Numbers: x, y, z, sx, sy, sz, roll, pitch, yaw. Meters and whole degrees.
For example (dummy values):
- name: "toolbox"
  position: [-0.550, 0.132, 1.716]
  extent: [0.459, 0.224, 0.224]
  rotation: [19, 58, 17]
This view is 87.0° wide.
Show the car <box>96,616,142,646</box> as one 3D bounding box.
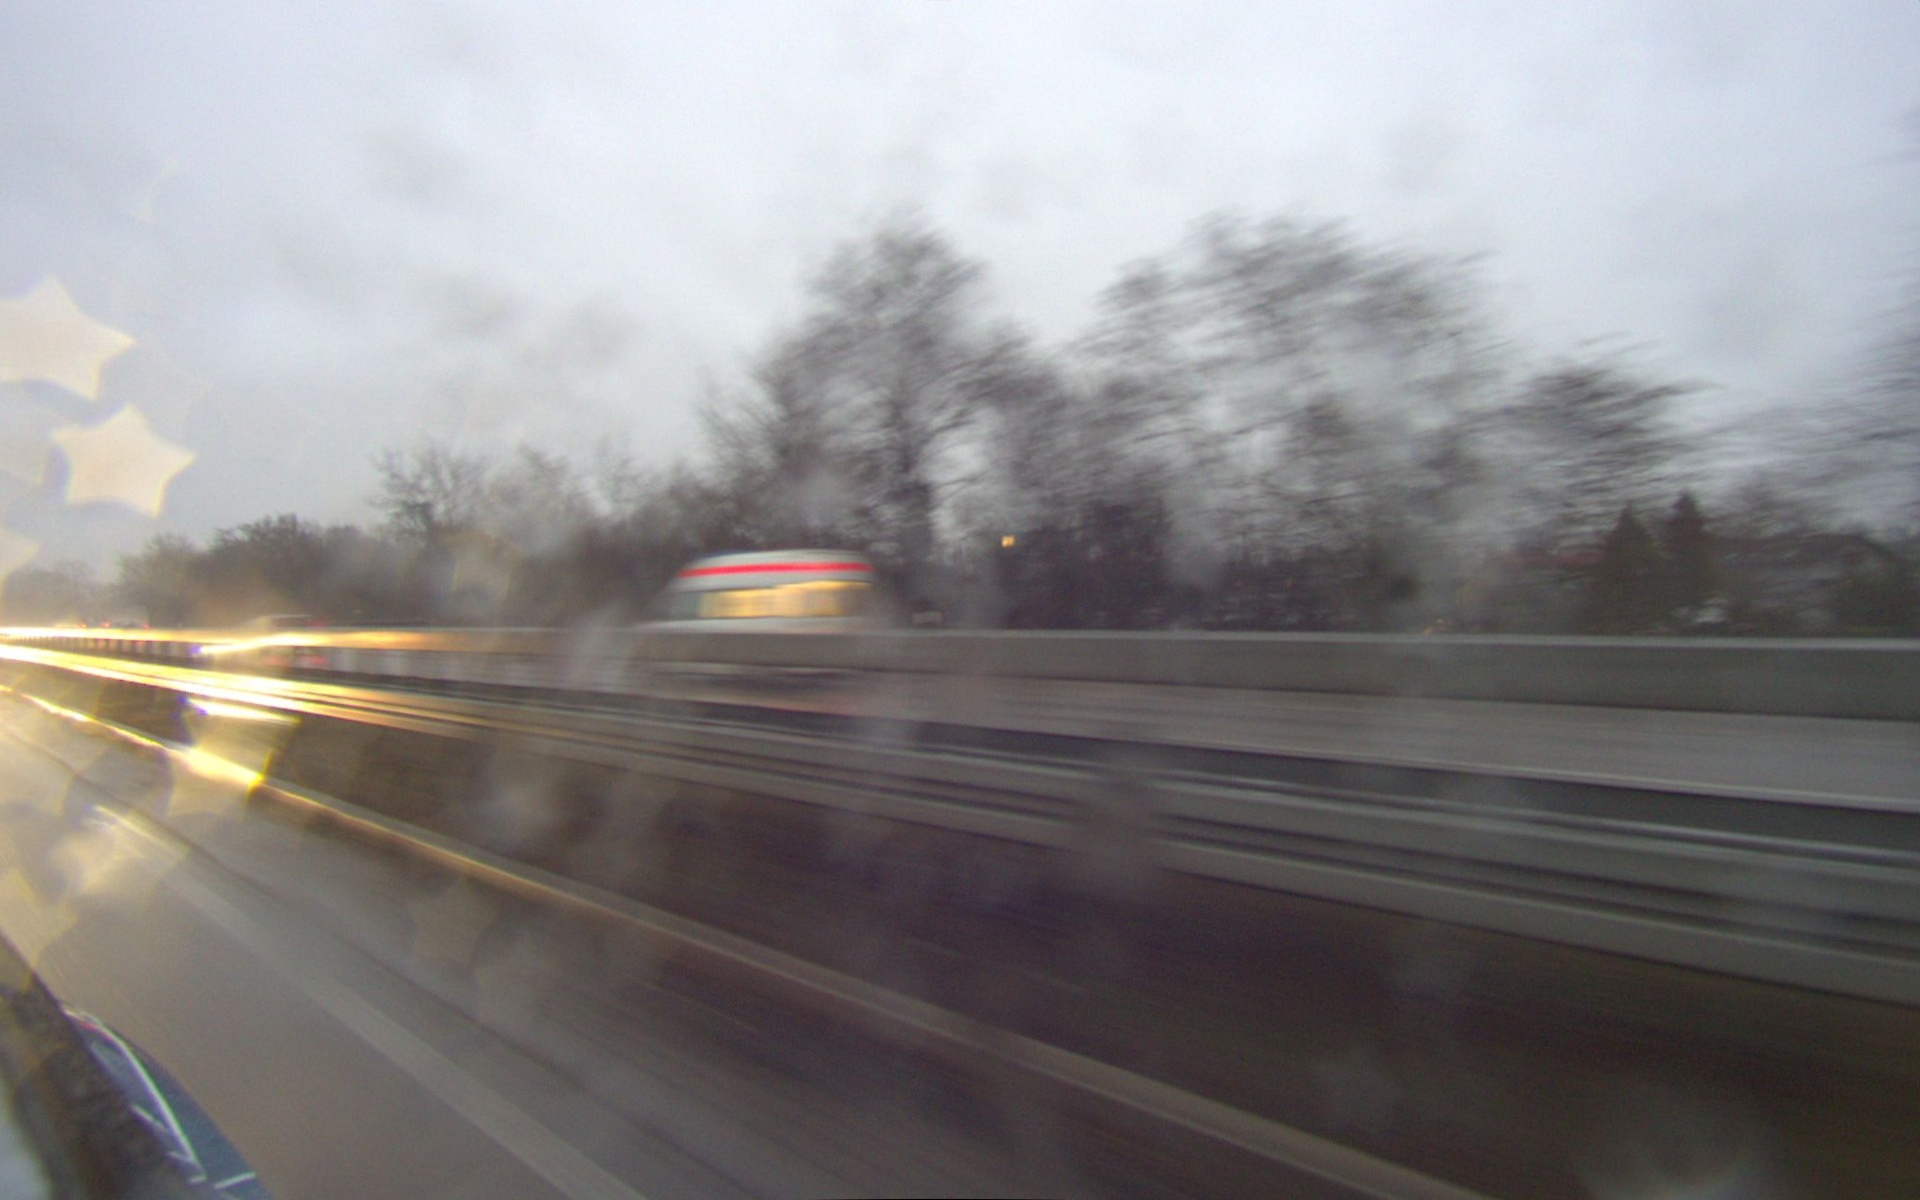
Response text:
- name: "car"
  position: [-57.389, 2.122, 69.045]
  extent: [4.303, 1.929, 1.826]
  rotation: [-2, -1, 43]

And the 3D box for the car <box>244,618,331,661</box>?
- name: "car"
  position: [-25.666, 1.511, 38.563]
  extent: [4.303, 1.540, 1.825]
  rotation: [-3, -2, 43]

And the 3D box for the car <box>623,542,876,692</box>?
- name: "car"
  position: [-4.111, 0.328, 19.042]
  extent: [5.415, 2.455, 1.826]
  rotation: [-2, -1, 43]

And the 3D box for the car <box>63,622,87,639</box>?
- name: "car"
  position: [-96.593, 3.346, 110.461]
  extent: [1.822, 1.817, 4.000]
  rotation: [-1, -1, -40]

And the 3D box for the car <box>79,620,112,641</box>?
- name: "car"
  position: [-80.026, 2.822, 93.705]
  extent: [4.303, 1.929, 1.826]
  rotation: [-2, -1, 43]
